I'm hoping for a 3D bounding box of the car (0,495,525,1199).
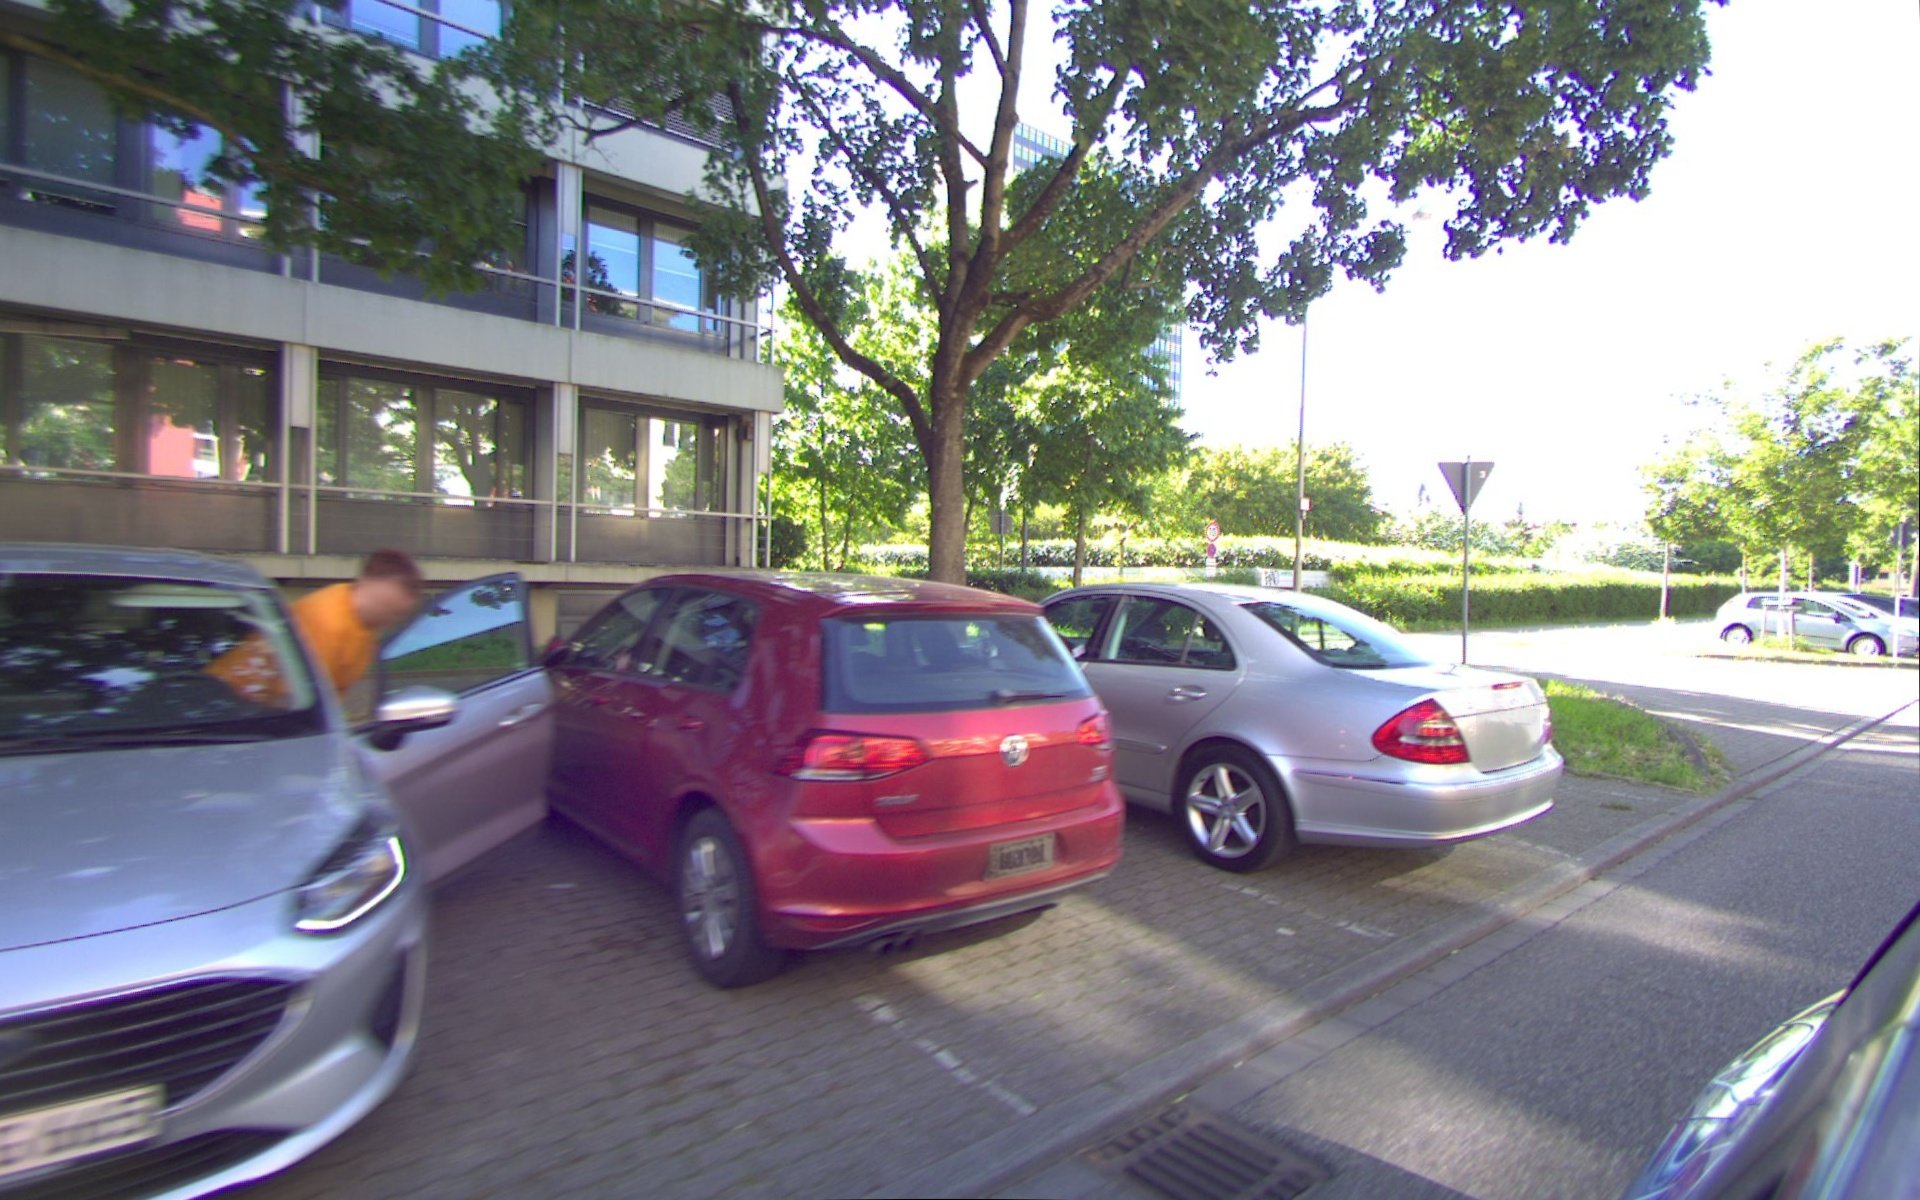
[{"bbox_3d":[-3.069,0.471,3.499,1.886,1.561,4.530,0,3,-36],"label":"car"}]

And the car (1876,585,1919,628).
[{"bbox_3d":[35.554,0.367,35.973,1.611,1.446,4.108,0,6,-33],"label":"car"}]

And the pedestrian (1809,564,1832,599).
[{"bbox_3d":[39.872,-0.855,46.897,0.920,1.561,0.608,0,2,-40],"label":"pedestrian"}]

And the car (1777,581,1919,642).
[{"bbox_3d":[27.288,0.330,29.857,2.120,1.533,4.562,-1,5,-40],"label":"car"}]

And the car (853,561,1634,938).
[{"bbox_3d":[1.336,0.539,6.420,1.716,1.493,4.588,0,2,-40],"label":"car"}]

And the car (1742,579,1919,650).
[{"bbox_3d":[23.551,0.358,26.491,1.948,1.533,4.559,-1,5,-42],"label":"car"}]

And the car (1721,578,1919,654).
[{"bbox_3d":[21.473,0.331,24.978,1.671,1.533,3.959,-1,5,-39],"label":"car"}]

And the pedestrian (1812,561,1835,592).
[{"bbox_3d":[44.651,-1.205,52.350,0.837,1.607,0.725,0,2,-39],"label":"pedestrian"}]

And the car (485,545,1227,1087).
[{"bbox_3d":[-0.875,0.523,4.935,1.886,1.464,3.851,0,3,-36],"label":"car"}]

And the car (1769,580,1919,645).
[{"bbox_3d":[25.318,0.331,28.306,1.720,1.533,3.886,-1,5,-40],"label":"car"}]

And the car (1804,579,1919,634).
[{"bbox_3d":[29.197,0.216,31.757,1.713,1.465,3.818,-1,6,-38],"label":"car"}]
